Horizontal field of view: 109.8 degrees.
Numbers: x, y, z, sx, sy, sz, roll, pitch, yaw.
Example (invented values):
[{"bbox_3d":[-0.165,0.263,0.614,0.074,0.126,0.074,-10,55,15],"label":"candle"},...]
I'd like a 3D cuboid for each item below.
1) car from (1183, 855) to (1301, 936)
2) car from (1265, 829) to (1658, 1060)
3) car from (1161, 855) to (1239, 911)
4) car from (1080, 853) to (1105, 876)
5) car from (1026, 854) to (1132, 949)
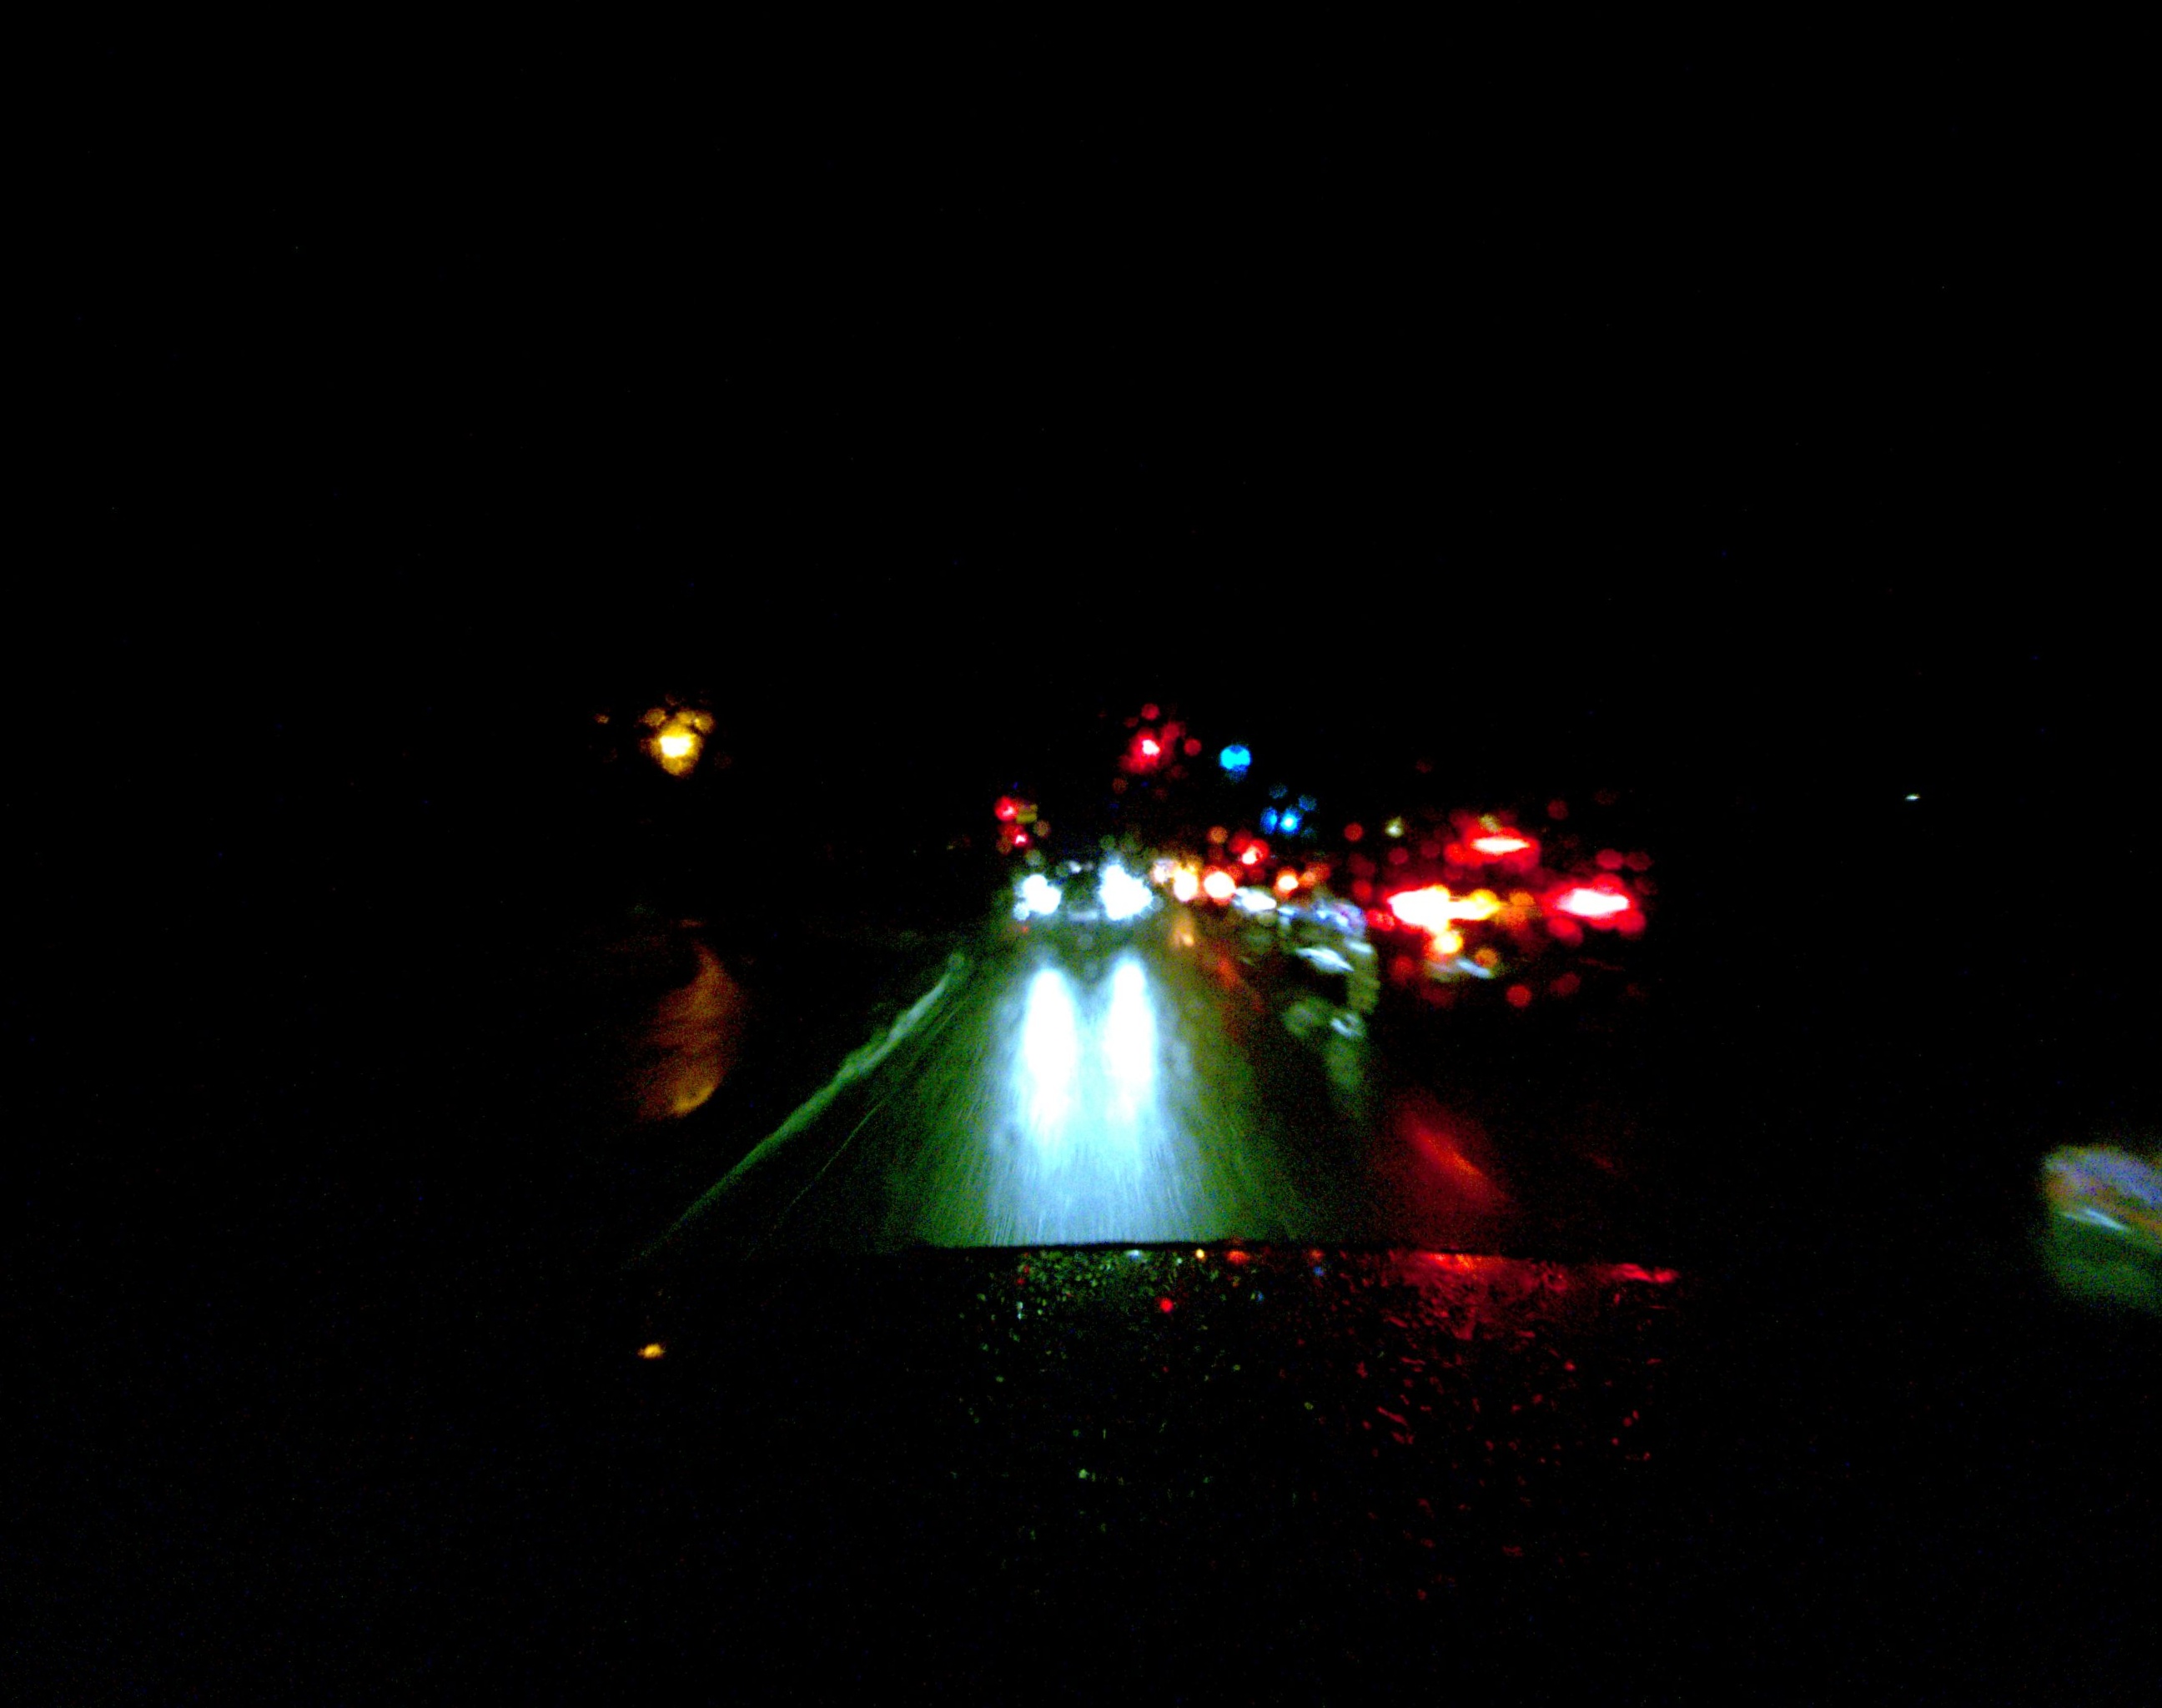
[{"bbox_3d":[3.302,0.783,16.274,1.626,1.464,3.884,-2,0,0],"label":"car"},{"bbox_3d":[3.352,0.671,7.846,1.848,1.659,4.445,-2,0,1],"label":"car"},{"bbox_3d":[3.437,0.791,22.570,1.673,1.464,3.633,-2,0,-1],"label":"car"},{"bbox_3d":[1.037,0.872,64.962,1.759,1.807,4.711,-3,0,4],"label":"car"},{"bbox_3d":[0.070,0.829,15.530,1.809,1.590,4.787,-1,0,2],"label":"car"}]
